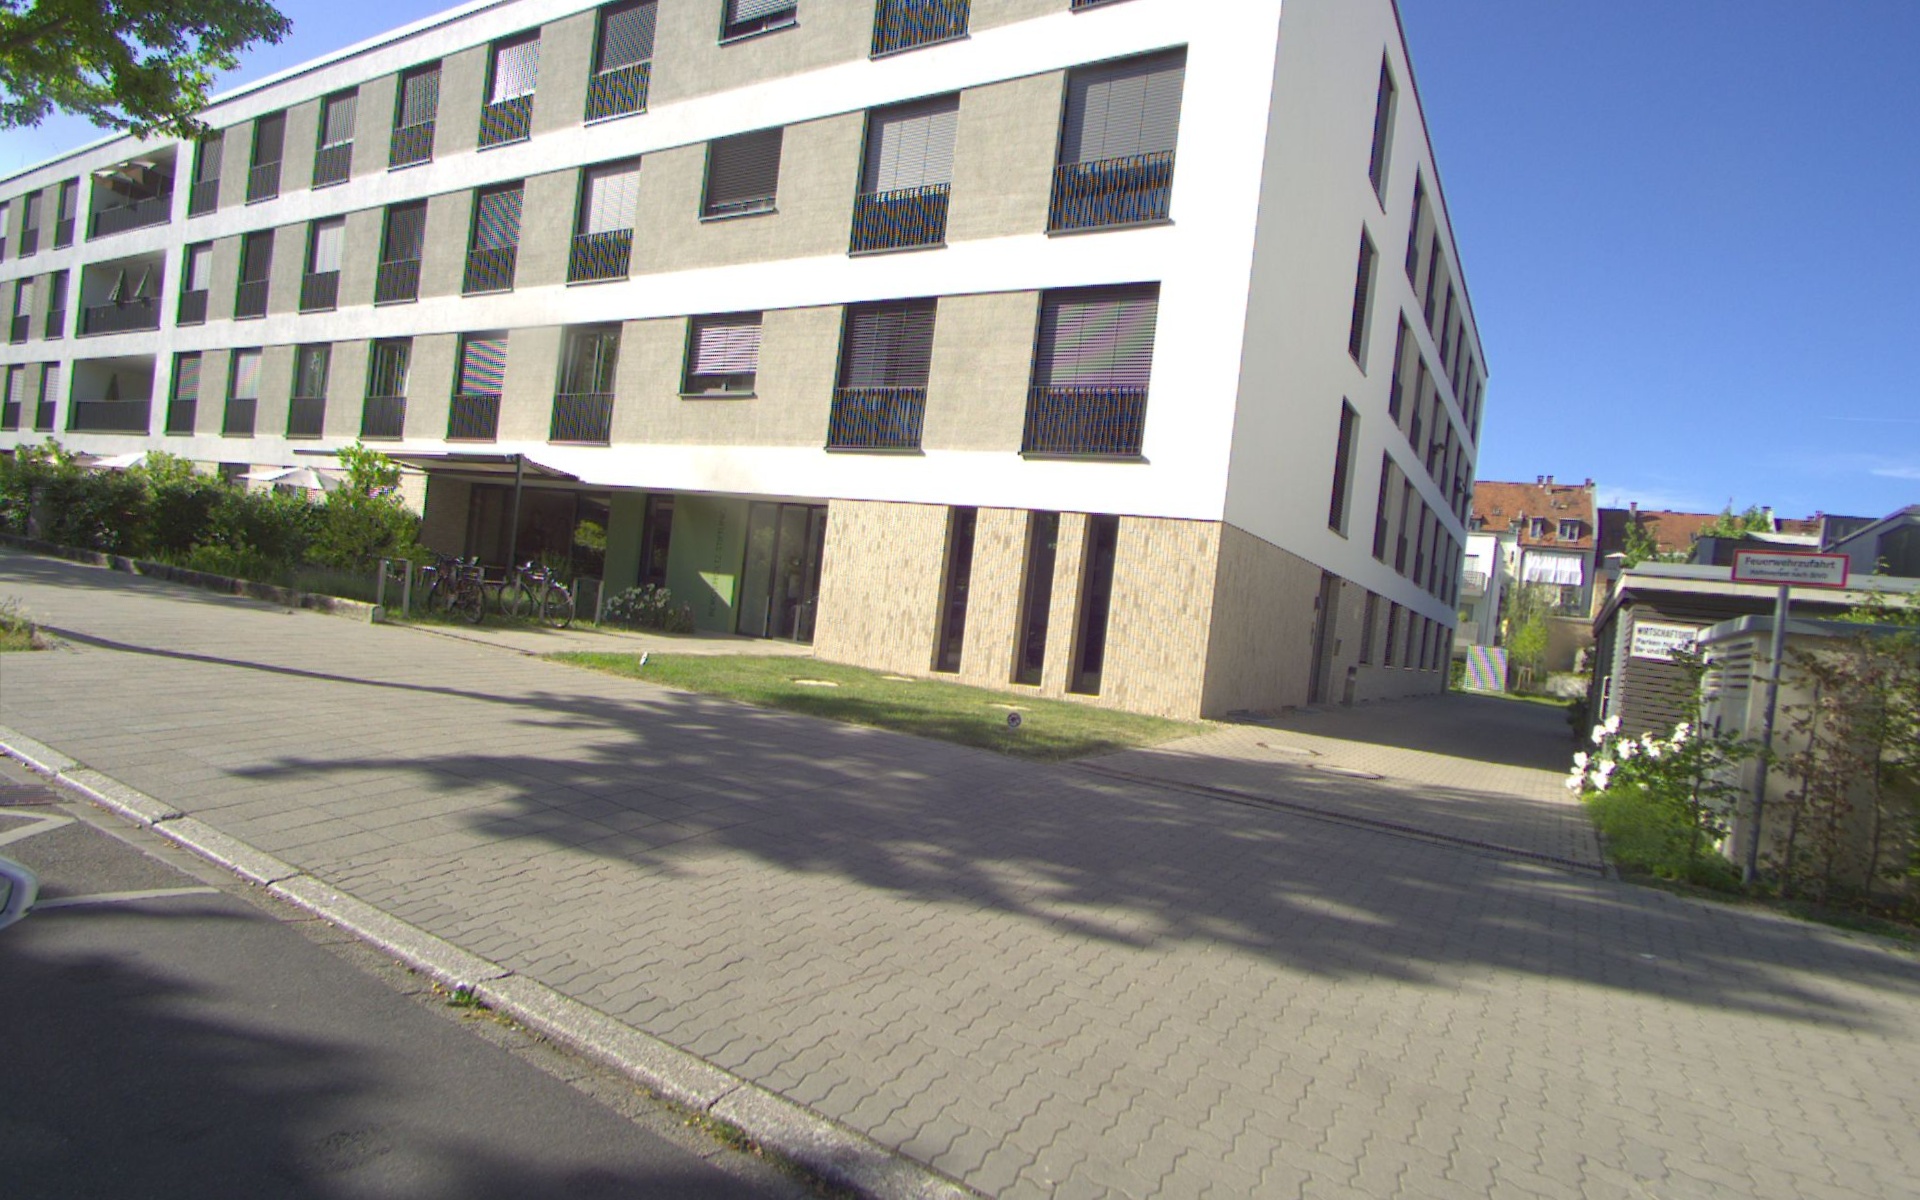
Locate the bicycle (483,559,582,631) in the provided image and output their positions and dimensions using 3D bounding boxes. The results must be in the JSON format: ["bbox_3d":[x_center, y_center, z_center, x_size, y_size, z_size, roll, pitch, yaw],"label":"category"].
[{"bbox_3d":[-7.438,-0.096,17.488,1.749,1.068,0.546,6,2,29],"label":"bicycle"}]

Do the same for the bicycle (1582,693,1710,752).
[{"bbox_3d":[15.477,2.748,22.775,2.275,0.936,0.658,7,1,34],"label":"bicycle"}]

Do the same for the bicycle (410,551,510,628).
[{"bbox_3d":[-8.110,-0.178,16.301,1.662,1.068,0.546,6,2,29],"label":"bicycle"}]
